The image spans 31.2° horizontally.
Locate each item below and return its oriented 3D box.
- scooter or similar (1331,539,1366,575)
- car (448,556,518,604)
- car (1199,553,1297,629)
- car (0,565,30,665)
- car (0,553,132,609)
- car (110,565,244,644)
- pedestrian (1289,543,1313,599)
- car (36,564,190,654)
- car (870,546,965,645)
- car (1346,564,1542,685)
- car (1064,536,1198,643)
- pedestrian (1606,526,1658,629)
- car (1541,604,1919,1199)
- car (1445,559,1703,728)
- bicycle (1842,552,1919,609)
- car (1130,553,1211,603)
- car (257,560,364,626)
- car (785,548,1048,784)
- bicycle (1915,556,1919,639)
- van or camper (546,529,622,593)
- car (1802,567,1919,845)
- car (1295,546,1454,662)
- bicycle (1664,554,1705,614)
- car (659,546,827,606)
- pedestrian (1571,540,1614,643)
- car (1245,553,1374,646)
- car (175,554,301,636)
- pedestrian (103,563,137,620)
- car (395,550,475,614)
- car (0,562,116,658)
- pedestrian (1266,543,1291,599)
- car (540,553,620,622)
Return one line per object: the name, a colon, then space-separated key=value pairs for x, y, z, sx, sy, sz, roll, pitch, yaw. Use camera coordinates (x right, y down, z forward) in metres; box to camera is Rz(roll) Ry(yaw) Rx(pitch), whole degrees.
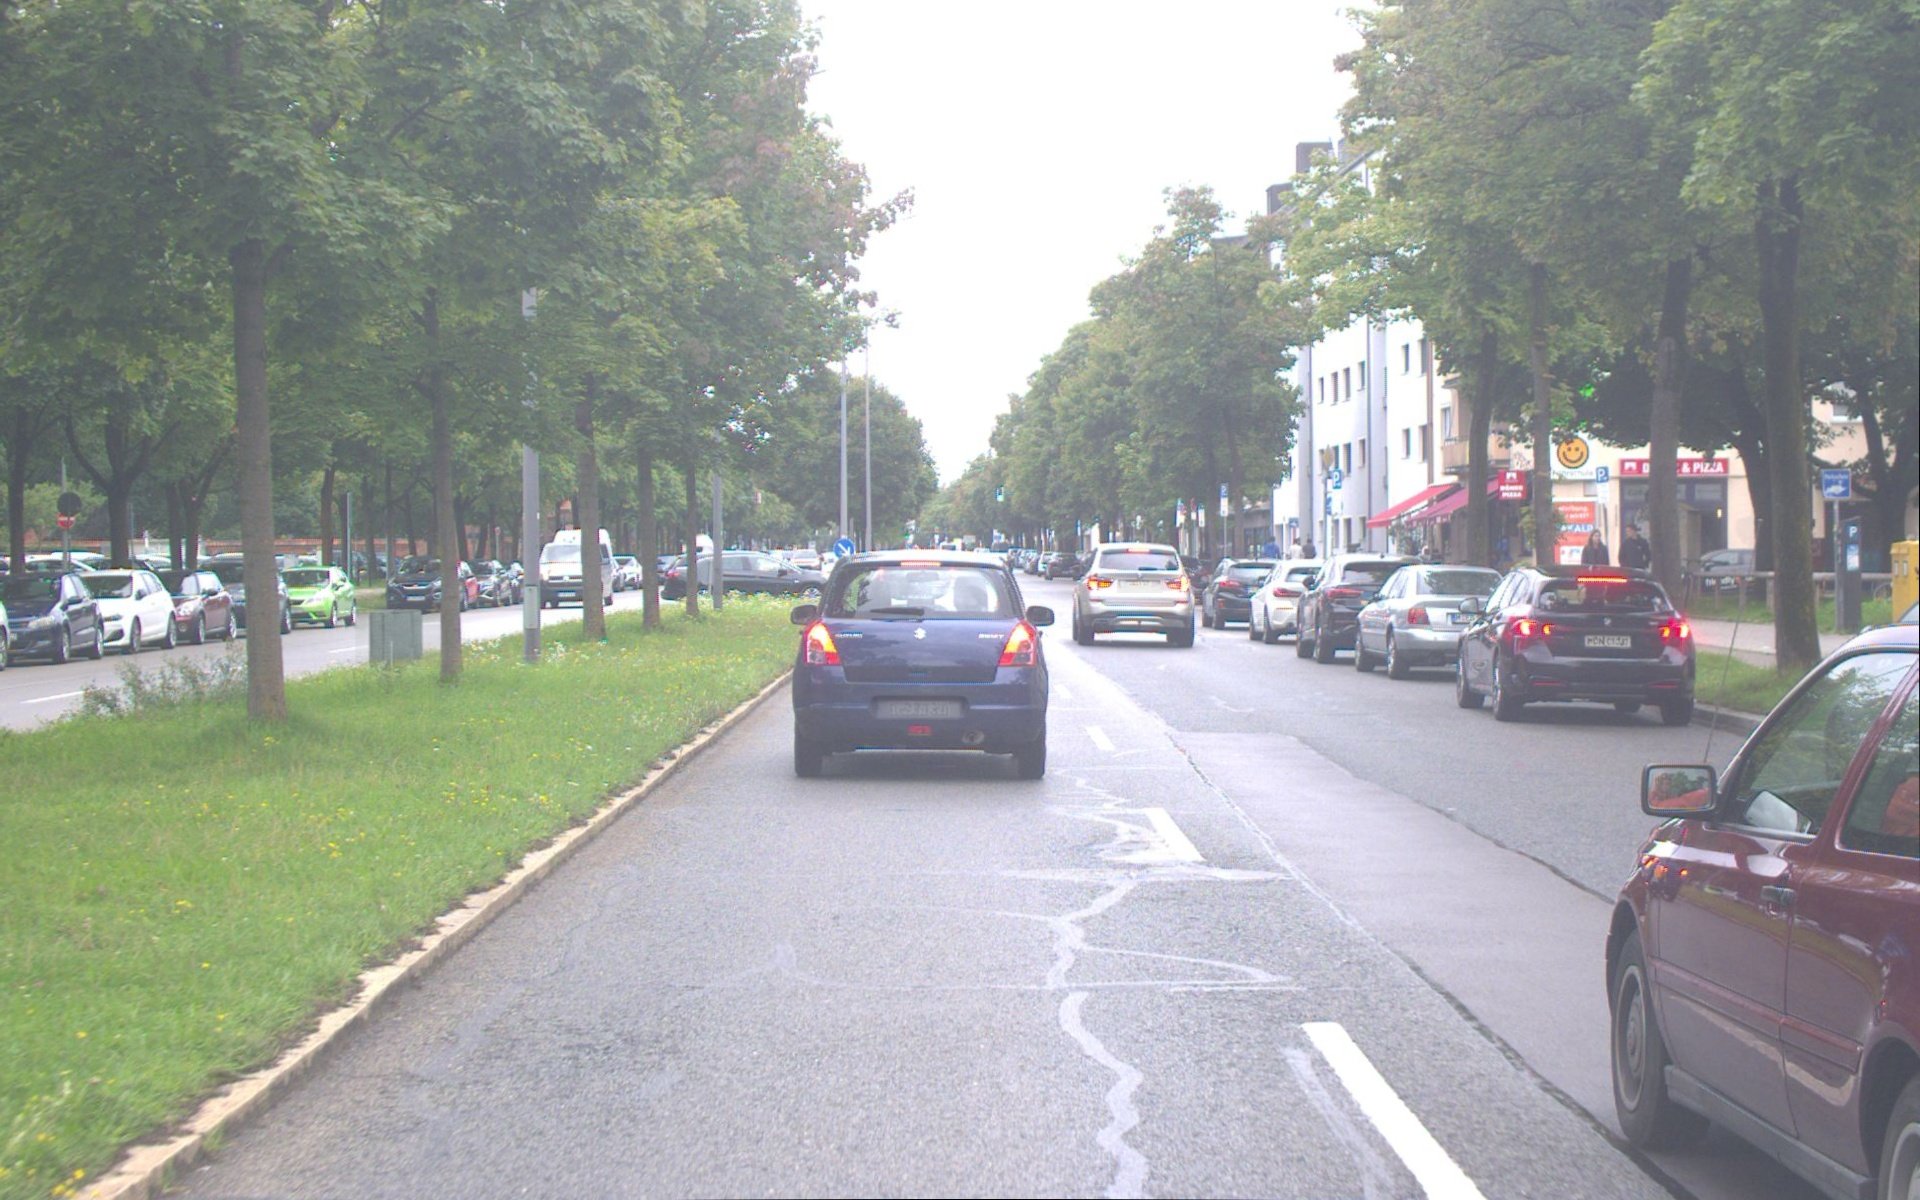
scooter or similar: x=14.335 y=-1.606 z=126.912 sx=1.033 sy=1.303 sz=2.755 roll=0 pitch=1 yaw=1
car: x=-14.859 y=-0.623 z=107.213 sx=1.667 sy=1.440 sz=3.879 roll=1 pitch=1 yaw=-1
car: x=5.822 y=-0.191 z=69.831 sx=1.617 sy=1.460 sz=3.674 roll=2 pitch=1 yaw=0
car: x=-14.840 y=0.260 z=49.357 sx=1.762 sy=1.445 sz=4.533 roll=-2 pitch=1 yaw=-1
car: x=-28.425 y=-0.609 z=109.225 sx=3.918 sy=1.712 sz=1.673 roll=1 pitch=0 yaw=-5
car: x=-14.892 y=0.061 z=65.539 sx=1.591 sy=1.392 sz=3.630 roll=-2 pitch=1 yaw=2
pedestrian: x=12.326 y=-1.059 z=124.233 sx=0.794 sy=2.007 sz=1.006 roll=0 pitch=1 yaw=1
car: x=-14.857 y=0.129 z=60.480 sx=1.607 sy=1.439 sz=4.279 roll=-2 pitch=1 yaw=0
car: x=-0.680 y=-0.093 z=53.717 sx=1.444 sy=1.478 sz=3.107 roll=0 pitch=1 yaw=-1
car: x=6.026 y=0.270 z=43.222 sx=1.636 sy=1.381 sz=4.245 roll=1 pitch=1 yaw=-3
car: x=2.765 y=-0.205 z=56.491 sx=1.865 sy=1.655 sz=4.408 roll=1 pitch=1 yaw=-1
pedestrian: x=12.429 y=-0.422 z=63.612 sx=0.729 sy=1.883 sz=0.919 roll=-1 pitch=0 yaw=-1
car: x=2.477 y=0.744 z=7.427 sx=1.682 sy=1.379 sz=3.919 roll=1 pitch=1 yaw=-1
car: x=5.791 y=0.364 z=32.857 sx=1.750 sy=1.460 sz=4.176 roll=1 pitch=1 yaw=1
bicycle: x=16.008 y=-0.326 z=58.448 sx=1.877 sy=0.936 sz=0.558 roll=1 pitch=0 yaw=2
car: x=6.133 y=-0.656 z=100.408 sx=1.865 sy=1.412 sz=4.225 roll=-1 pitch=1 yaw=-3
car: x=-14.977 y=-0.188 z=79.442 sx=1.548 sy=1.404 sz=3.879 roll=-2 pitch=1 yaw=2
car: x=-0.320 y=0.397 z=23.978 sx=1.682 sy=1.496 sz=3.919 roll=0 pitch=1 yaw=-1
bicycle: x=13.326 y=-0.018 z=46.284 sx=0.431 sy=1.129 sz=1.884 roll=-1 pitch=1 yaw=1
van or camper: x=-15.118 y=-1.569 z=138.453 sx=2.117 sy=2.473 sz=7.449 roll=1 pitch=1 yaw=1
car: x=5.971 y=0.580 z=18.939 sx=1.682 sy=1.460 sz=4.115 roll=1 pitch=1 yaw=1
car: x=5.843 y=0.019 z=48.929 sx=1.716 sy=1.528 sz=4.276 roll=1 pitch=1 yaw=0
bicycle: x=13.645 y=-0.309 z=64.787 sx=0.381 sy=1.099 sz=1.883 roll=1 pitch=1 yaw=1
car: x=-5.428 y=-0.606 z=85.743 sx=4.121 sy=1.463 sz=1.840 roll=0 pitch=1 yaw=-6
pedestrian: x=11.705 y=-0.168 z=63.619 sx=0.588 sy=1.883 sz=0.902 roll=-1 pitch=0 yaw=-1
car: x=5.985 y=-0.034 z=59.199 sx=1.682 sy=1.460 sz=4.137 roll=2 pitch=1 yaw=-1
car: x=-14.942 y=-0.122 z=71.326 sx=1.690 sy=1.581 sz=4.371 roll=-2 pitch=1 yaw=-1
pedestrian: x=-22.677 y=-0.232 z=92.814 sx=0.727 sy=1.528 sz=0.721 roll=1 pitch=0 yaw=1
car: x=-14.809 y=-0.521 z=97.109 sx=1.716 sy=1.735 sz=3.879 roll=1 pitch=1 yaw=-1
car: x=-14.631 y=0.148 z=54.551 sx=1.613 sy=1.412 sz=3.898 roll=-2 pitch=1 yaw=-2
pedestrian: x=11.508 y=-1.037 z=124.223 sx=0.794 sy=2.007 sz=1.006 roll=0 pitch=1 yaw=1
car: x=-11.105 y=-0.381 z=100.771 sx=1.799 sy=1.927 sz=4.994 roll=-2 pitch=1 yaw=-1
